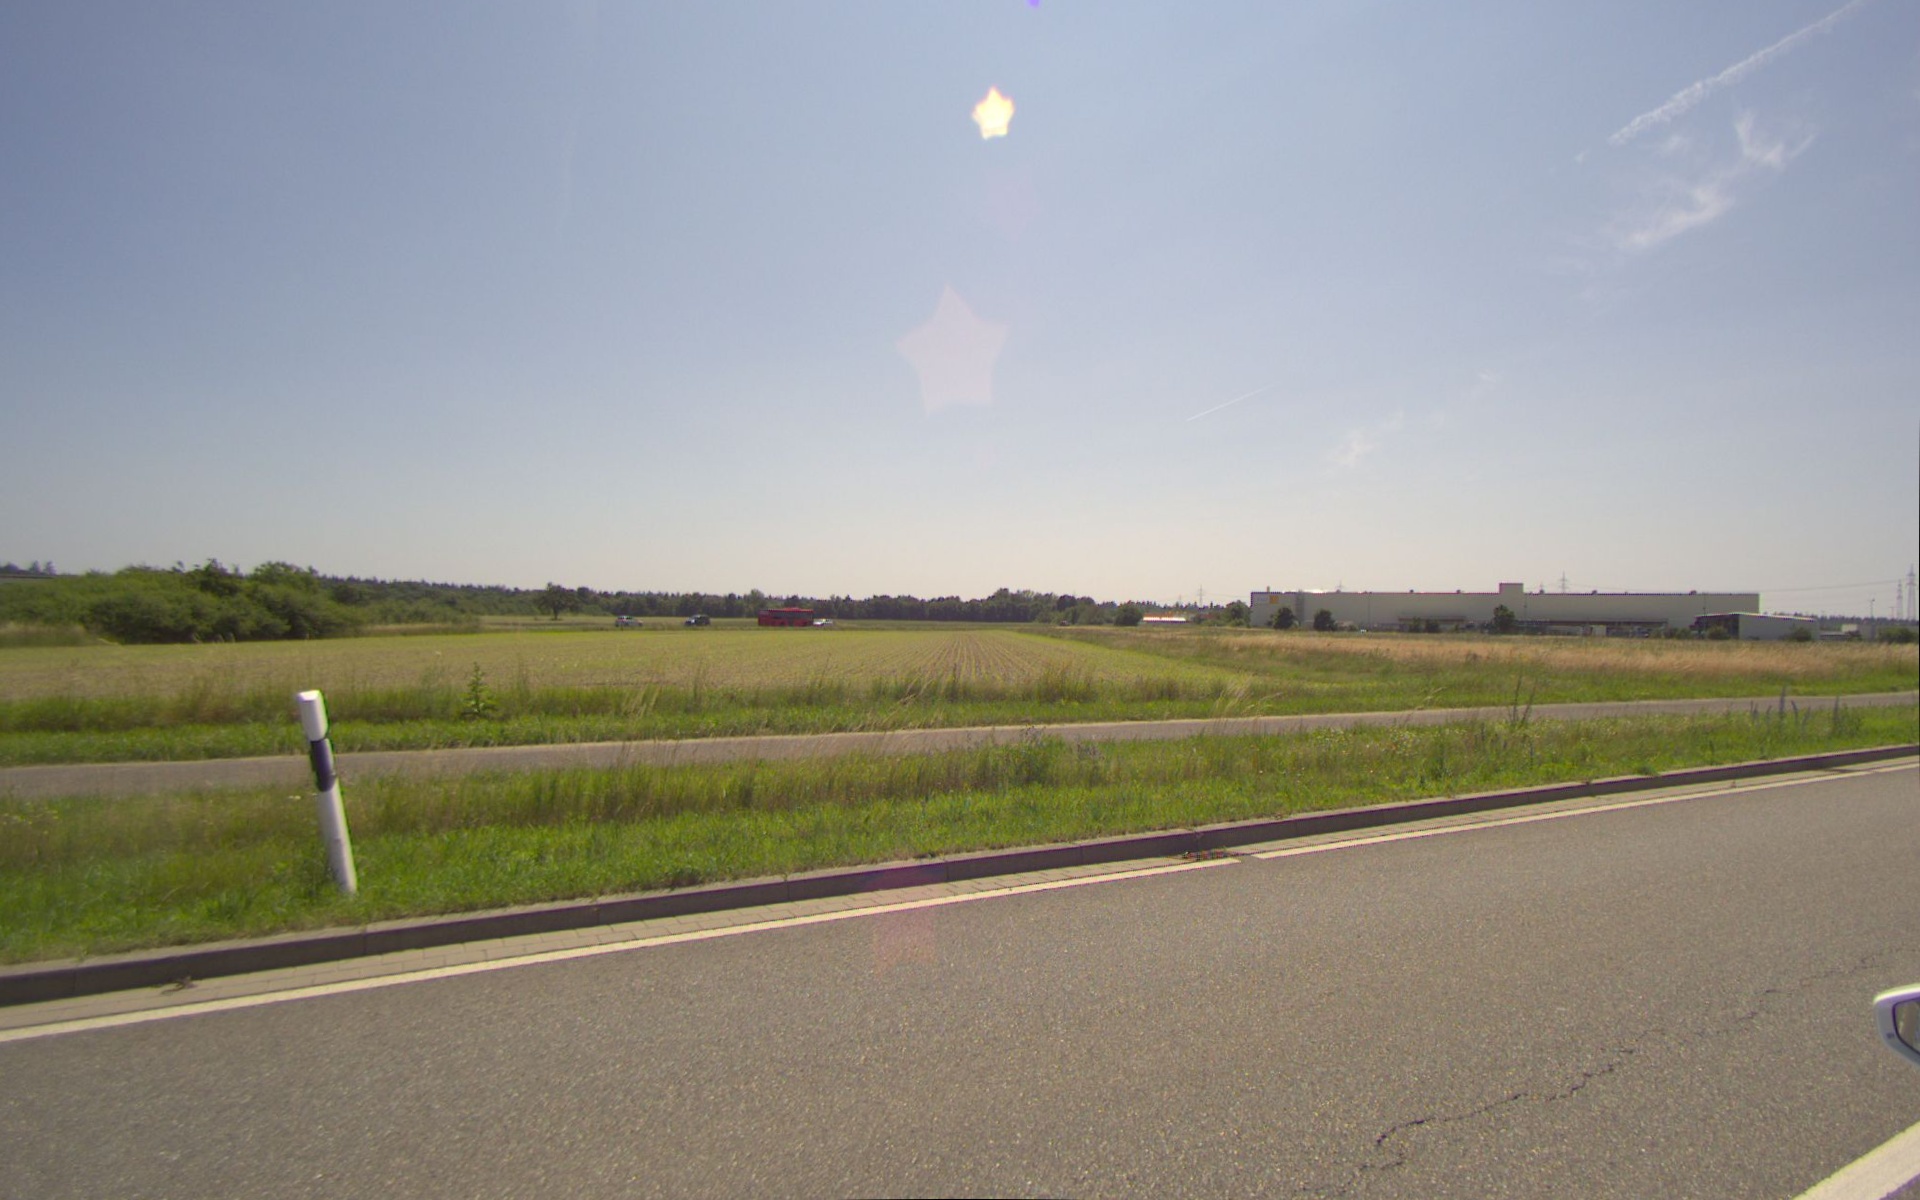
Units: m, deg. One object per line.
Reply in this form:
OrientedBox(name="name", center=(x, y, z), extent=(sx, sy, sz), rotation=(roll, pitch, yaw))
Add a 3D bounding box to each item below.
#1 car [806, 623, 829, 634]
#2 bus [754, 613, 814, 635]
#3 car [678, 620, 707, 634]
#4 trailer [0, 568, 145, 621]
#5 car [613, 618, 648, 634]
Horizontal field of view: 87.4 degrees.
OrientedBox(name="car", center=(-25.231, 5.013, 177.984), extent=(1.964, 1.916, 3.993), rotation=(1, -1, 30))
OrientedBox(name="bus", center=(-28.617, 3.895, 164.141), extent=(3.252, 3.353, 11.978), rotation=(0, -1, 26))
OrientedBox(name="car", center=(-39.852, 4.013, 149.839), extent=(1.963, 2.040, 3.995), rotation=(0, -1, 27))
OrientedBox(name="trailer", center=(-73.392, -0.398, 79.376), extent=(2.597, 3.986, 13.853), rotation=(0, -1, 31))
OrientedBox(name="car", center=(-43.599, 3.460, 132.971), extent=(1.963, 2.040, 4.226), rotation=(0, -1, 26))
